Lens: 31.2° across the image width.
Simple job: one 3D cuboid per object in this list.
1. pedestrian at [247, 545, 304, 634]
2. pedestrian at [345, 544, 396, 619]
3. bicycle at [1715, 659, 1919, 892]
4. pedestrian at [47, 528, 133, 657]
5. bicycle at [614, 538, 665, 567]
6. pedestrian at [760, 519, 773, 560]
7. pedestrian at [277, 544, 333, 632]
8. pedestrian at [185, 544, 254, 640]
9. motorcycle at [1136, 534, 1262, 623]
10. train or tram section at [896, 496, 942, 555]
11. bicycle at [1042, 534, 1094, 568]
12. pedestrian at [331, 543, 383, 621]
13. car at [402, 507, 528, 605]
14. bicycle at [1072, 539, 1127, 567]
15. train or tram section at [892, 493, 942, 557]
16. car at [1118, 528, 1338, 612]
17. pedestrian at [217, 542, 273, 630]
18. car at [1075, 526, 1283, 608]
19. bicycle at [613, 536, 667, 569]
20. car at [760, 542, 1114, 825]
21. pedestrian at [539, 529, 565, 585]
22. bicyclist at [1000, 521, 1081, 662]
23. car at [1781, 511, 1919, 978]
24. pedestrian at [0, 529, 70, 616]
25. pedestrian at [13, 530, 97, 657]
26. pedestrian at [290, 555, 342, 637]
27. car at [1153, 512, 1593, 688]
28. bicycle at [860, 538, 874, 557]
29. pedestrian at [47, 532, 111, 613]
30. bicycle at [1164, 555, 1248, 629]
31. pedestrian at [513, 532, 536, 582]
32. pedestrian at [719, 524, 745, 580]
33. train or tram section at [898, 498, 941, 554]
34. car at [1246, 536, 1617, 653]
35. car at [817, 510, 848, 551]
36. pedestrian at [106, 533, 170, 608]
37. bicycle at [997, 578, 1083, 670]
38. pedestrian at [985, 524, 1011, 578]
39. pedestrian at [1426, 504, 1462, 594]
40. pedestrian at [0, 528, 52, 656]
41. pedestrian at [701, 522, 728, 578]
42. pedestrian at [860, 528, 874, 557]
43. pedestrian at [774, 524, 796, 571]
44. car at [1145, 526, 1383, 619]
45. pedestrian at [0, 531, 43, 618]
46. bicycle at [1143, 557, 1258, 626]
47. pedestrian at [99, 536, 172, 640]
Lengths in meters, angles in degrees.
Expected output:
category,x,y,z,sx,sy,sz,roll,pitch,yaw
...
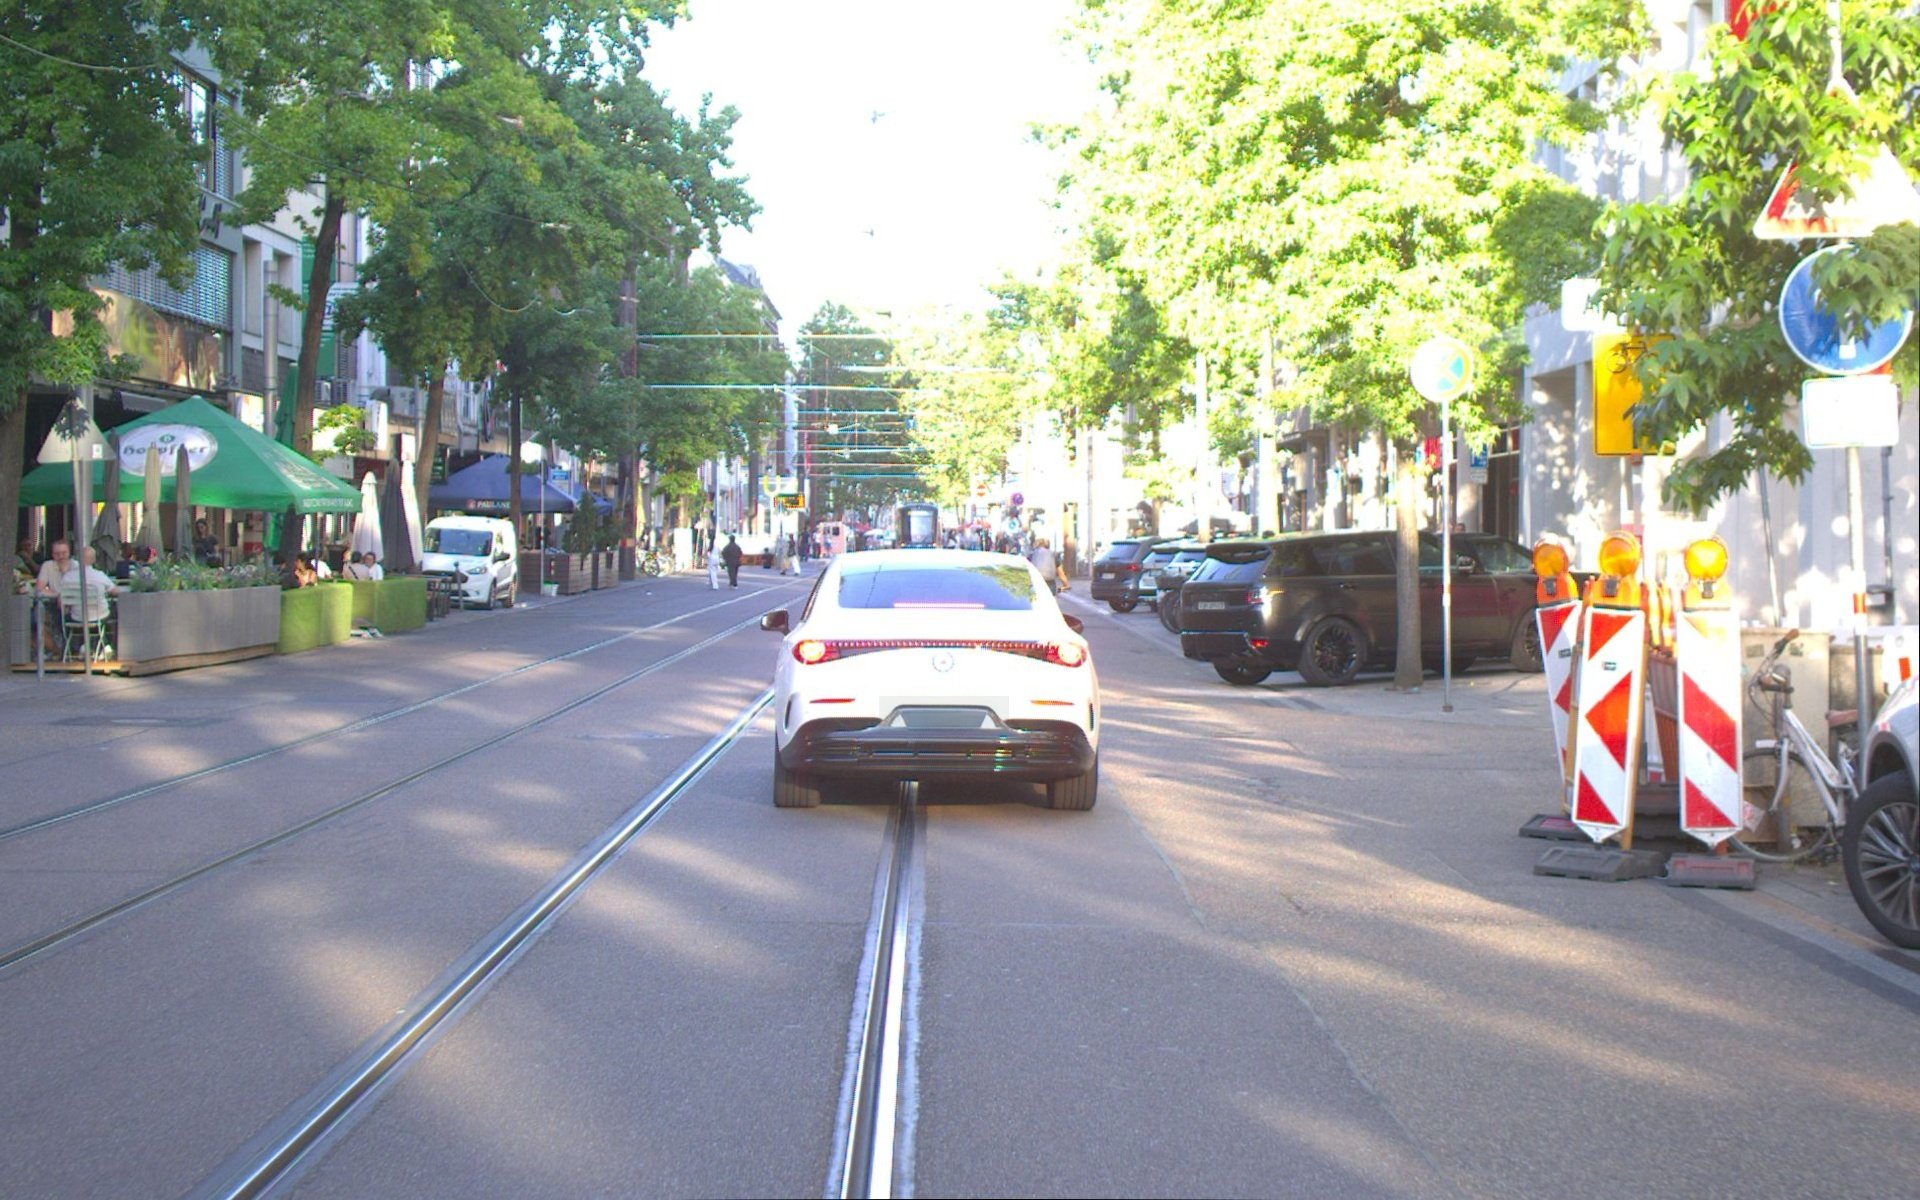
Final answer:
category,x,y,z,sx,sy,sz,roll,pitch,yaw
pedestrian,-9.874,-0.151,49.601,0.619,1.240,0.697,3,1,-1
pedestrian,-9.853,-0.314,57.469,0.657,1.189,0.798,3,1,-1
bicycle,4.094,0.805,16.390,0.493,0.978,1.930,0,1,-2
pedestrian,-9.580,-0.087,37.876,0.689,1.382,0.807,2,1,1
bicycle,-10.629,-1.585,114.003,1.596,0.927,0.377,2,1,7
pedestrian,-9.010,-2.816,160.169,0.539,1.922,0.573,0,1,3
pedestrian,-9.616,-0.179,50.485,0.619,1.240,0.697,3,1,-1
pedestrian,-9.998,-0.116,46.415,0.708,1.255,0.772,2,1,2
motorcycle,4.267,-0.389,61.273,2.313,1.504,0.858,-3,1,-44
train or tram section,-2.470,-4.501,207.916,2.694,3.504,12.546,0,1,0
bicycle,4.232,-1.916,134.827,1.908,1.277,0.610,-2,1,-11
pedestrian,-9.913,-0.301,56.523,0.657,1.240,0.873,3,1,-1
car,-10.098,-0.918,70.456,1.795,1.858,4.554,3,1,1
bicycle,5.571,-1.872,137.143,2.113,1.092,0.610,0,1,-13
train or tram section,-2.404,-4.239,195.365,2.694,3.504,12.546,0,1,0
car,5.620,-0.633,71.866,4.235,1.582,1.884,-3,1,-31
pedestrian,-10.466,-0.215,50.359,0.619,1.240,0.697,3,1,-1
car,4.839,-0.730,75.865,4.342,1.646,1.695,-3,1,-31
bicycle,-10.912,-1.614,117.227,1.788,1.073,0.377,2,1,-4
car,-0.143,0.411,20.436,1.857,1.450,4.175,1,1,-1
pedestrian,-9.928,-1.049,83.645,0.549,1.352,0.583,1,1,-1
bicyclist,0.945,-0.107,40.330,0.778,1.607,0.912,2,1,9
car,4.585,0.522,12.073,2.023,1.731,4.907,-2,1,-2
pedestrian,-13.779,-0.412,51.130,0.777,1.233,0.945,3,1,-1
pedestrian,-10.177,-0.081,38.684,0.689,1.382,0.807,2,1,1
pedestrian,-10.585,-0.069,56.515,0.657,1.289,0.798,3,1,-1
car,4.740,-0.032,39.293,4.651,1.757,1.995,-3,1,-29
bicycle,-5.849,-3.280,215.935,0.800,1.138,2.257,2,1,-2
pedestrian,-13.716,-0.434,53.537,0.736,1.209,0.788,3,1,-1
bicycle,4.138,-0.139,57.761,0.481,1.159,1.691,-2,1,39
pedestrian,-10.765,-1.062,85.009,0.494,1.223,0.535,1,1,-1
pedestrian,-6.404,-1.356,96.591,0.622,1.545,0.852,3,1,0
train or tram section,-2.538,-4.743,219.756,2.694,3.504,11.144,0,1,0
car,6.461,-0.096,47.130,4.650,1.421,1.934,-2,1,-21
car,-9.125,-4.994,245.836,1.993,2.887,5.275,0,1,0
pedestrian,-13.637,-0.491,57.051,0.753,1.184,1.065,3,1,-1
bicycle,0.951,0.269,40.476,0.719,0.992,2.058,2,1,9
pedestrian,1.292,-1.670,117.255,0.841,1.795,0.790,2,1,1
pedestrian,9.445,-0.998,67.090,0.557,1.744,0.525,-2,1,0
pedestrian,-10.464,-0.097,37.832,0.689,1.382,0.807,2,1,1
pedestrian,-6.818,-1.387,95.519,0.622,1.504,0.833,3,1,0
pedestrian,-5.833,-3.598,215.889,0.800,1.776,0.849,2,1,-1
pedestrian,-6.796,-2.045,133.366,0.788,1.795,0.844,0,1,1
car,5.712,-0.530,64.480,4.147,1.566,1.854,-3,2,-33
pedestrian,-13.829,-0.379,49.941,0.736,1.227,0.788,3,1,-1
bicycle,4.178,-0.146,59.710,1.890,1.116,0.667,-3,1,-29
pedestrian,-10.617,-0.158,44.285,0.689,1.307,0.807,2,1,1
